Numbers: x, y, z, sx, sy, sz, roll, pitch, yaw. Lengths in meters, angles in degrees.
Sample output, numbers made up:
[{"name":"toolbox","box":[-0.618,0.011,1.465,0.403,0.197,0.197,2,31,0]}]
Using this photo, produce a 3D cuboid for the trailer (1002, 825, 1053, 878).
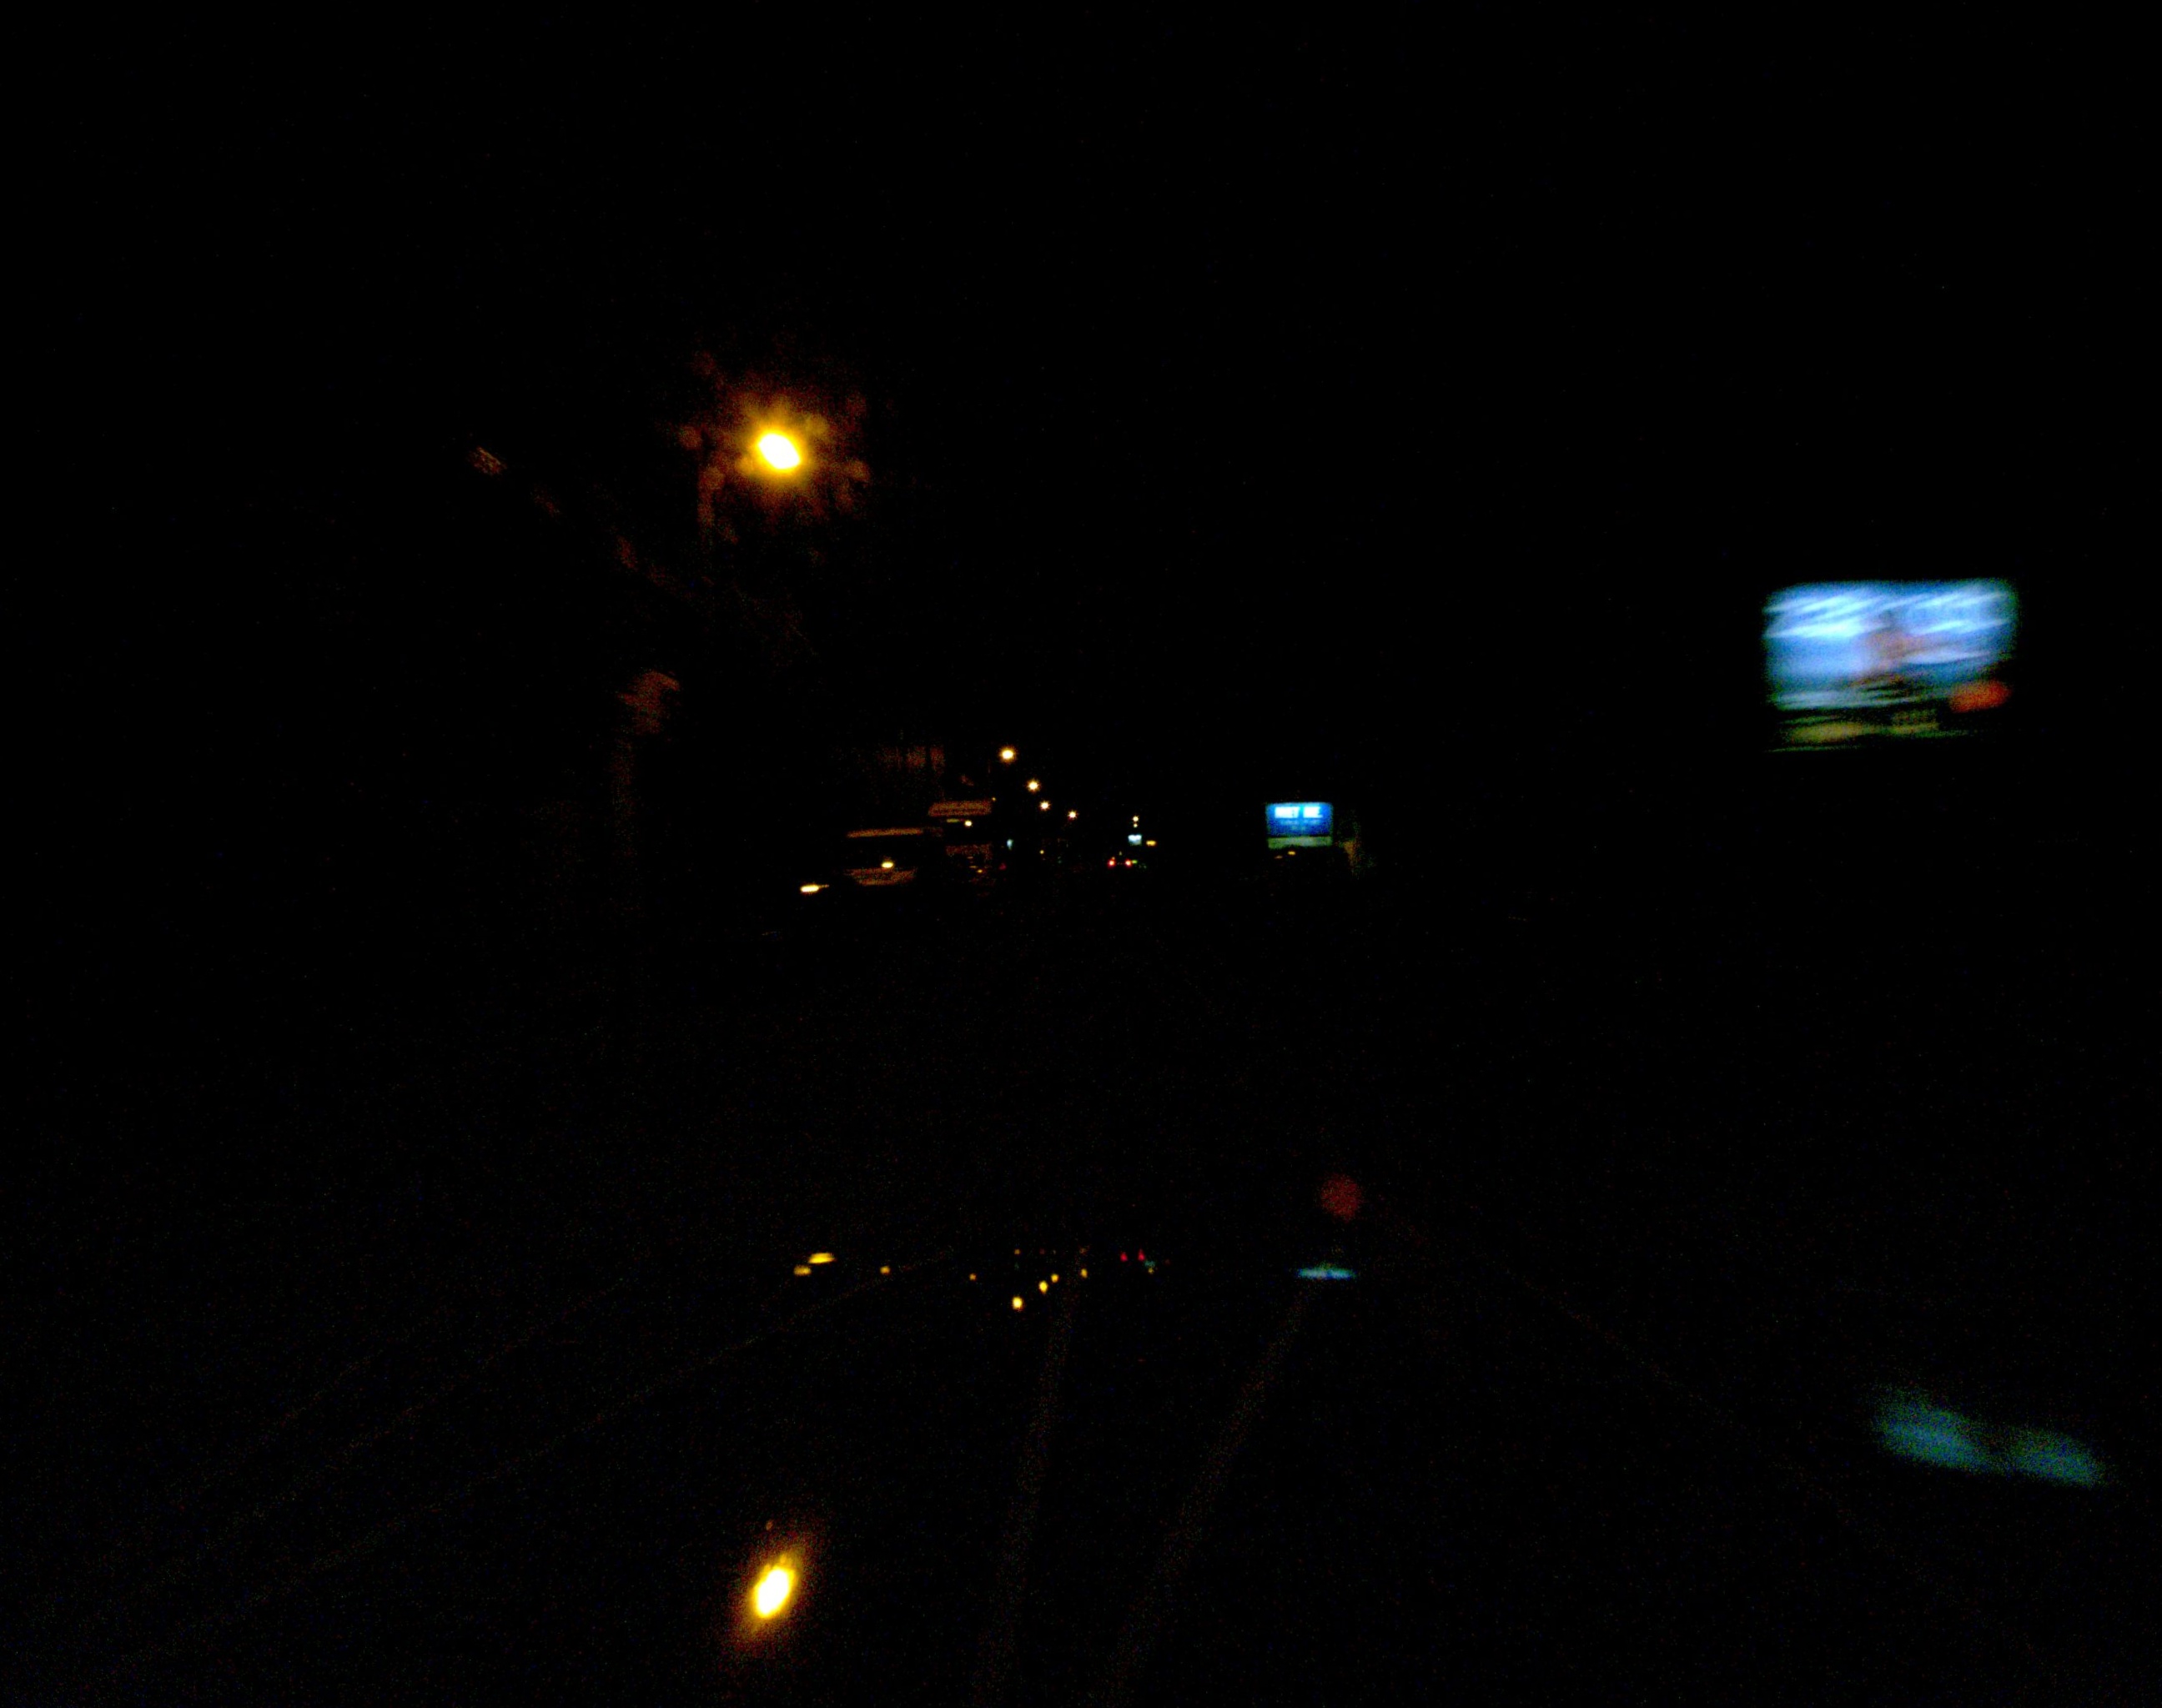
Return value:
[{"name":"trailer","box":[-3.771,-0.187,55.457,2.885,3.504,8.283,-1,0,1]}]

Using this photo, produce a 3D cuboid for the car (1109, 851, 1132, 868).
[{"name":"car","box":[3.454,0.460,66.614,1.825,1.429,4.398,-1,0,1]}]

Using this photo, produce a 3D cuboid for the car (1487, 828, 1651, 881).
[{"name":"car","box":[16.810,0.020,26.352,4.410,1.644,1.922,-1,0,3]}]

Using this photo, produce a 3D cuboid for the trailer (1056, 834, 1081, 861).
[{"name":"trailer","box":[-2.082,-1.195,133.192,3.072,4.449,13.413,-3,1,5]}]

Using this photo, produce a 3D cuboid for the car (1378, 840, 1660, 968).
[{"name":"car","box":[6.864,0.673,12.678,1.952,1.678,4.816,-1,0,1]}]

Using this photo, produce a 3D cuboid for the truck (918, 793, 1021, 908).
[{"name":"truck","box":[-3.949,-0.129,28.090,2.772,3.742,5.228,-3,1,1]}]

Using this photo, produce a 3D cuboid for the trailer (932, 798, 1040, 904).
[{"name":"trailer","box":[-3.848,-0.196,35.054,2.772,3.742,14.654,-3,1,1]}]

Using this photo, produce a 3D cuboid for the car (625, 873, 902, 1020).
[{"name":"car","box":[-4.142,1.097,10.984,1.834,1.399,4.908,-4,0,0]}]

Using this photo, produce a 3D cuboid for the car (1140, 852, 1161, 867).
[{"name":"car","box":[6.954,0.505,76.226,1.761,1.382,4.309,-1,0,2]}]

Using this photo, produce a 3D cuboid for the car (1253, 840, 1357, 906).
[{"name":"car","box":[6.761,0.523,23.494,1.809,1.788,4.878,-1,0,1]}]

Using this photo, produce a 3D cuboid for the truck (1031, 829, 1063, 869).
[{"name":"truck","box":[-3.569,-0.437,82.532,2.797,3.947,9.821,-3,0,0]}]

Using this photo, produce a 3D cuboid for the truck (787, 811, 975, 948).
[{"name":"truck","box":[-4.305,0.483,17.902,2.407,2.579,6.597,-2,0,2]}]

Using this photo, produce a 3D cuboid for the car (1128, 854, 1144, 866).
[{"name":"car","box":[6.915,0.748,95.282,1.690,1.357,3.879,-3,1,1]}]

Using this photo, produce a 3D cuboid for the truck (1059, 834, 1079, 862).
[{"name":"truck","box":[-1.755,-0.799,114.914,2.660,3.851,10.233,-3,-2,1]}]

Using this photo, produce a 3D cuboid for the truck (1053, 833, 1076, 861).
[{"name":"truck","box":[-2.626,-1.122,126.477,3.072,4.449,5.635,-3,1,5]}]
